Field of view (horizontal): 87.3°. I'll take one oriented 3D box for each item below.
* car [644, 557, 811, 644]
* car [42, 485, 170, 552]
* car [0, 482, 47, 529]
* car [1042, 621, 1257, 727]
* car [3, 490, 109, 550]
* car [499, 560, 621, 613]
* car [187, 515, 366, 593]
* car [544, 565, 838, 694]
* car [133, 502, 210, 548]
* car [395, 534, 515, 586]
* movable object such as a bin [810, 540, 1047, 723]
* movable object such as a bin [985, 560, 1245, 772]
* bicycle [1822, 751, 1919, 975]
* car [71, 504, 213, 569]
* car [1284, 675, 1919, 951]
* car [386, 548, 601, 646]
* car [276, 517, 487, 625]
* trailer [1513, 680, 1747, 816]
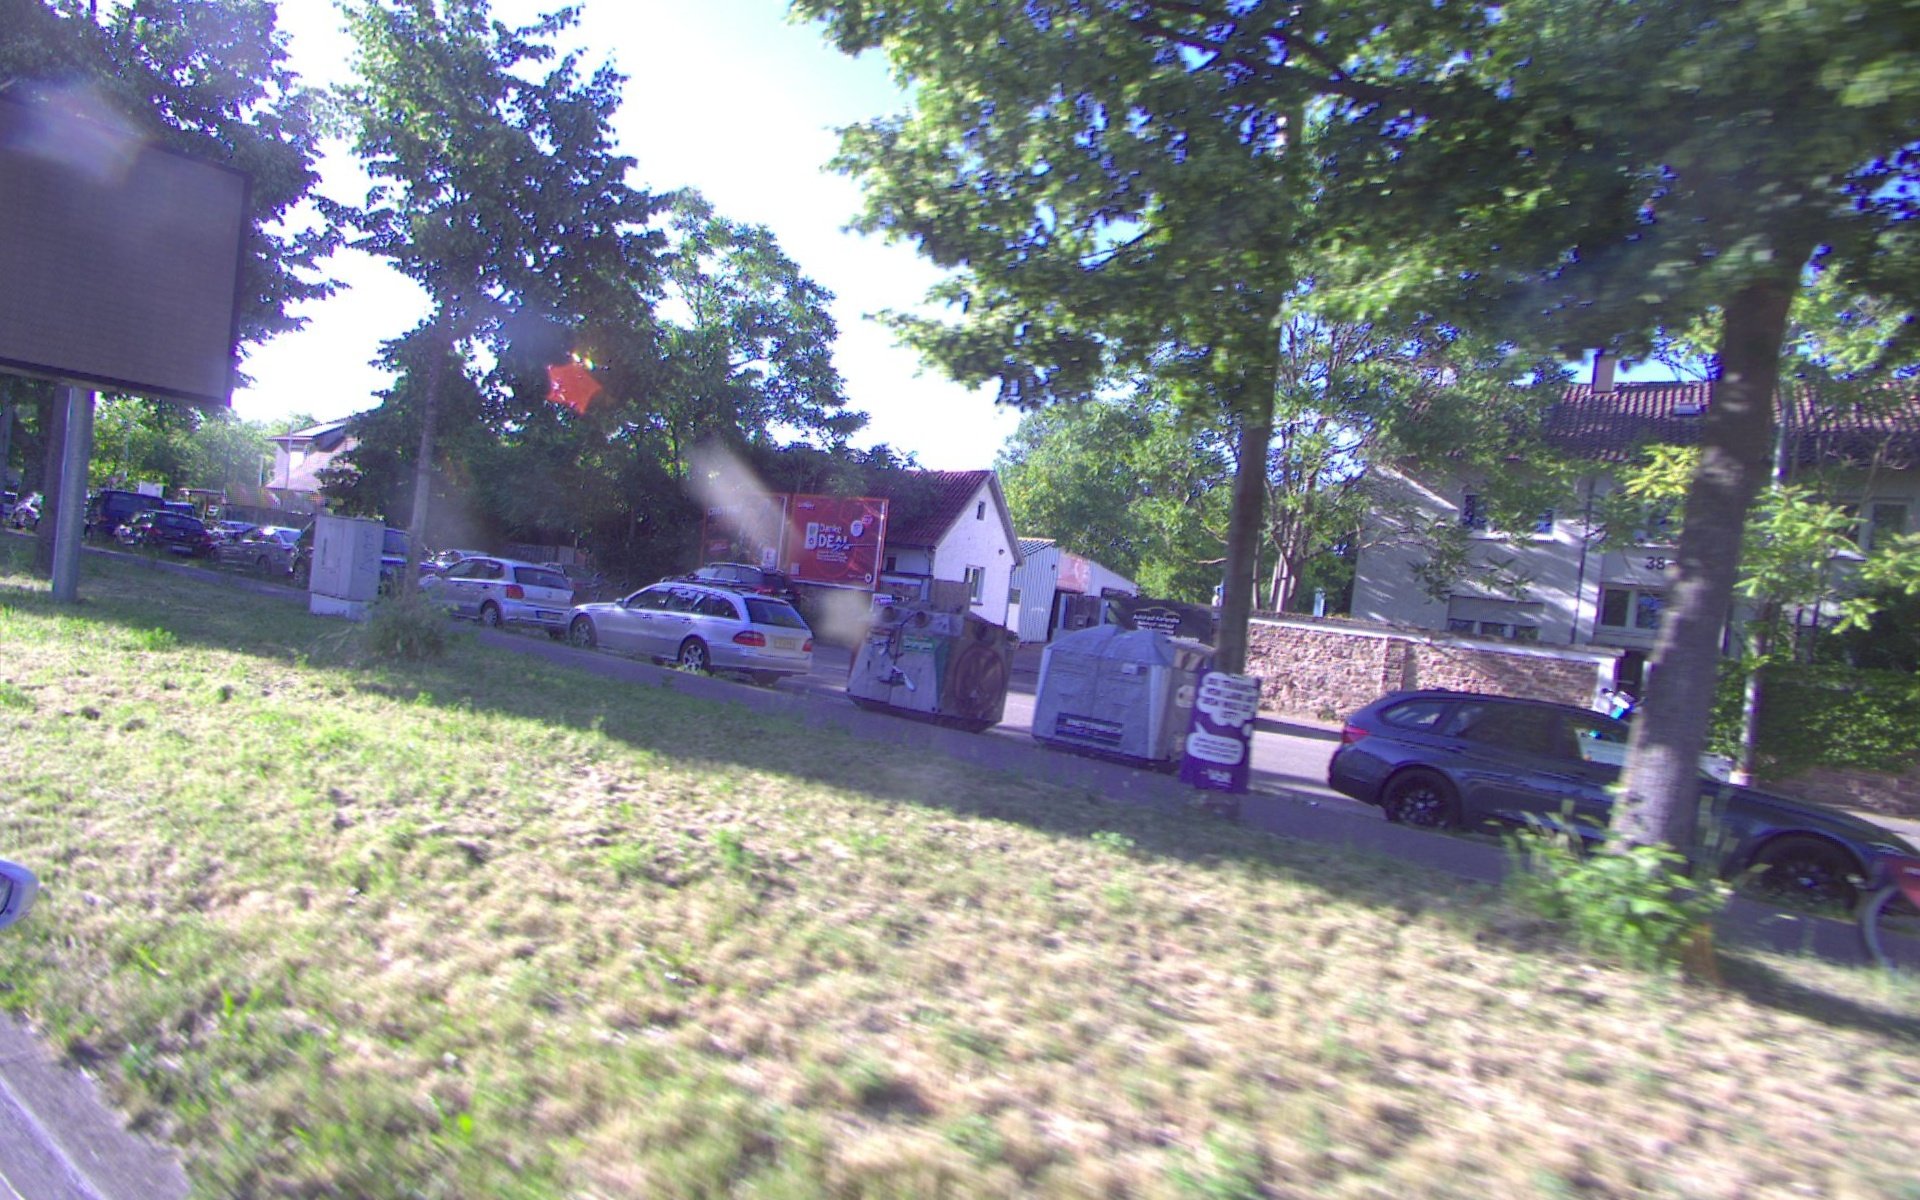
[{"bbox_3d":[-6.767,0.002,29.089,4.613,2.028,1.872,6,1,32],"label":"car"},{"bbox_3d":[-27.901,-2.664,32.839,3.933,1.703,1.875,6,-2,31],"label":"car"},{"bbox_3d":[-39.992,-4.041,41.757,3.932,1.705,1.873,6,1,30],"label":"car"},{"bbox_3d":[4.008,1.484,21.398,3.934,1.662,1.994,6,2,32],"label":"car"},{"bbox_3d":[-32.680,-2.915,36.347,3.937,1.703,1.873,6,-2,34],"label":"car"},{"bbox_3d":[-13.487,-0.471,33.837,4.245,1.389,1.730,6,2,35],"label":"car"},{"bbox_3d":[-17.792,-1.202,26.144,4.820,1.450,1.875,6,-2,31],"label":"car"},{"bbox_3d":[-4.659,0.461,17.089,4.975,1.542,1.874,6,-2,34],"label":"car"},{"bbox_3d":[-42.068,-4.000,53.651,3.936,2.039,1.994,6,1,33],"label":"car"},{"bbox_3d":[-19.064,-1.507,37.947,4.613,1.502,1.872,6,1,32],"label":"car"},{"bbox_3d":[-0.382,0.436,13.244,2.102,2.037,2.084,6,-2,34],"label":"movable object such as a bin"},{"bbox_3d":[1.841,0.758,11.703,2.102,2.037,2.084,6,-2,34],"label":"movable object such as a bin"},{"bbox_3d":[5.505,1.421,4.877,1.873,1.059,0.493,6,-1,32],"label":"bicycle"},{"bbox_3d":[-24.069,-1.868,29.585,3.933,1.383,1.875,6,-2,31],"label":"car"},{"bbox_3d":[5.727,1.740,9.364,4.672,1.400,2.001,6,-2,36],"label":"car"},{"bbox_3d":[-9.294,-0.069,19.999,3.933,1.405,1.875,6,-2,31],"label":"car"},{"bbox_3d":[-13.168,-0.680,22.828,4.810,1.841,1.875,6,-2,31],"label":"car"},{"bbox_3d":[11.103,2.367,16.810,2.975,1.662,1.730,6,2,35],"label":"trailer"}]
